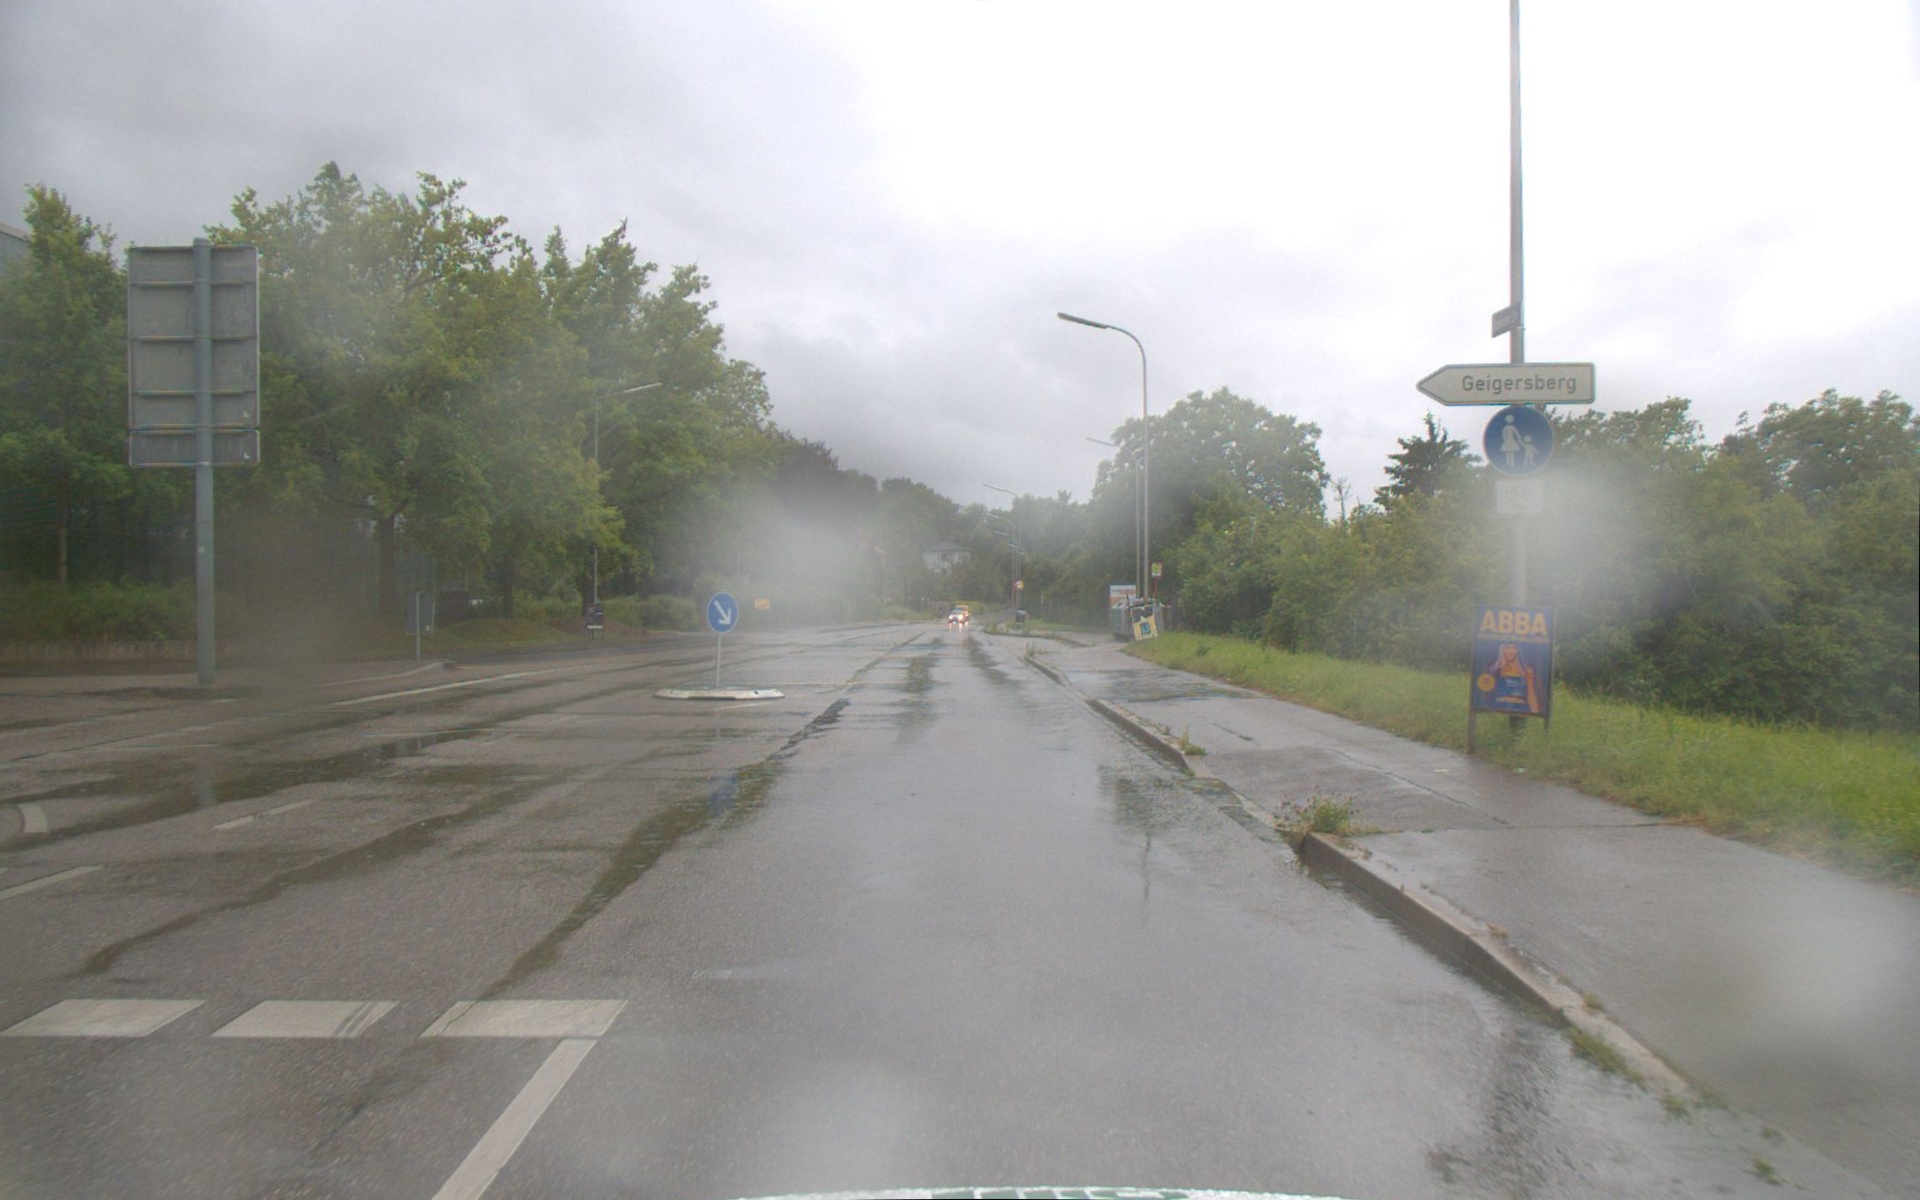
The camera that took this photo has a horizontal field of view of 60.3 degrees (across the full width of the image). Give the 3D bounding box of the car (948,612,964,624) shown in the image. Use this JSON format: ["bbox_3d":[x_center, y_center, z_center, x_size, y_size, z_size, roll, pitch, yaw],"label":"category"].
[{"bbox_3d":[-0.395,1.985,183.498,1.666,1.373,3.905,0,0,1],"label":"car"}]
